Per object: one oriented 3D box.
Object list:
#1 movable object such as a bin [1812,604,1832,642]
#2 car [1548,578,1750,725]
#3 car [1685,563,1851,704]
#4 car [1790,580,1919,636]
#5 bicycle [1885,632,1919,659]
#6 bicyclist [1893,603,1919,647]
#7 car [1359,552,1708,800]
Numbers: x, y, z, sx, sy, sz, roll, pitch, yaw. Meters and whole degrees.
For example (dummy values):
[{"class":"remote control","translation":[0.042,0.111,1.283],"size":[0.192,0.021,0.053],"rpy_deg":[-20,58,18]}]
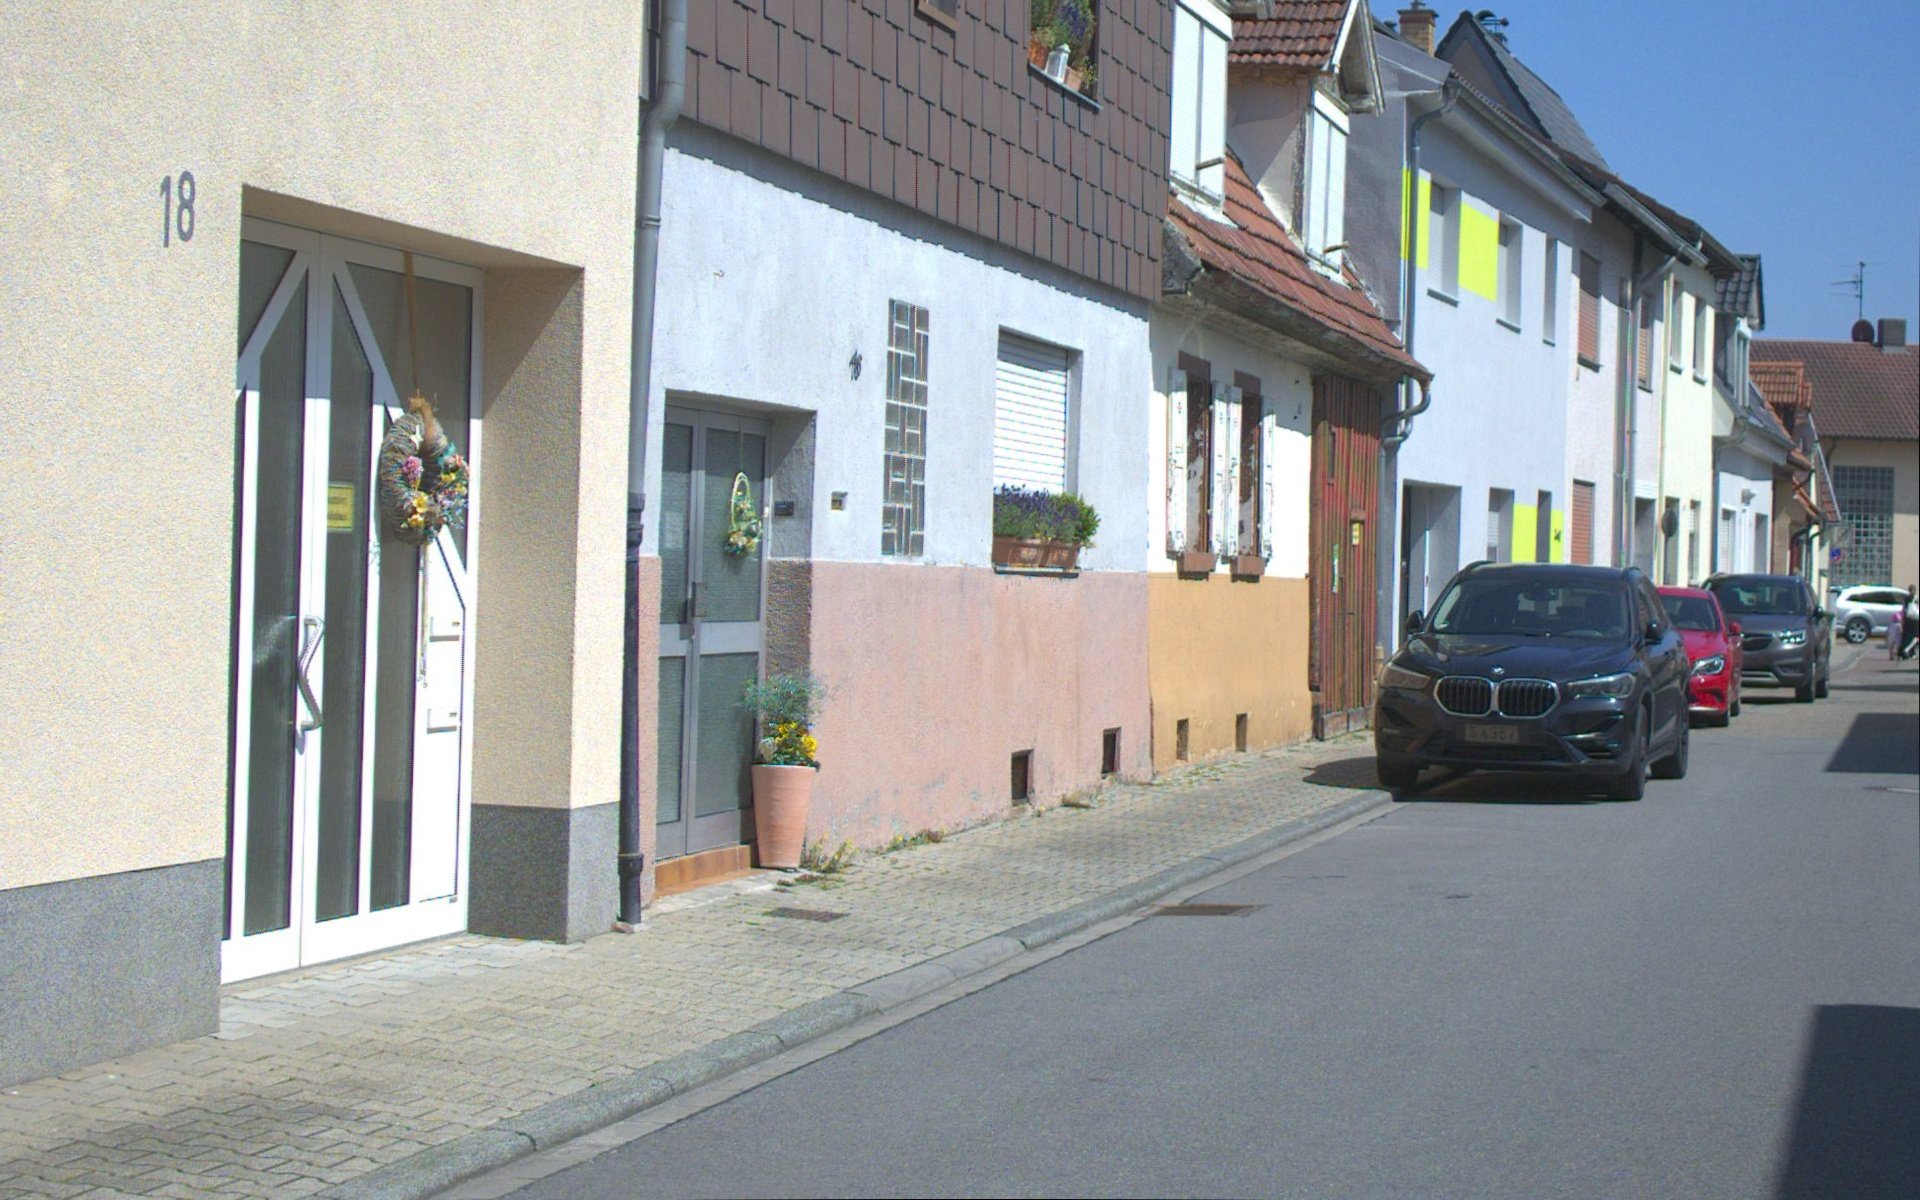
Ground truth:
[{"class":"movable object such as a bin","translation":[21.371,0.572,85.238],"size":[0.449,0.918,0.404],"rpy_deg":[1,0,15]},{"class":"car","translation":[7.456,0.516,36.899],"size":[1.801,1.436,4.484],"rpy_deg":[1,0,15]},{"class":"car","translation":[10.416,0.406,44.110],"size":[1.801,1.698,4.483],"rpy_deg":[0,0,17]},{"class":"car","translation":[27.413,0.255,102.752],"size":[4.747,1.579,1.802],"rpy_deg":[1,0,-14]},{"class":"bicycle","translation":[20.706,0.992,75.251],"size":[0.441,0.565,0.939],"rpy_deg":[1,1,-15]},{"class":"bicyclist","translation":[20.720,0.549,75.212],"size":[0.461,0.956,0.352],"rpy_deg":[0,0,-16]},{"class":"car","translation":[4.203,0.489,24.629],"size":[1.801,1.568,4.611],"rpy_deg":[1,0,18]}]
